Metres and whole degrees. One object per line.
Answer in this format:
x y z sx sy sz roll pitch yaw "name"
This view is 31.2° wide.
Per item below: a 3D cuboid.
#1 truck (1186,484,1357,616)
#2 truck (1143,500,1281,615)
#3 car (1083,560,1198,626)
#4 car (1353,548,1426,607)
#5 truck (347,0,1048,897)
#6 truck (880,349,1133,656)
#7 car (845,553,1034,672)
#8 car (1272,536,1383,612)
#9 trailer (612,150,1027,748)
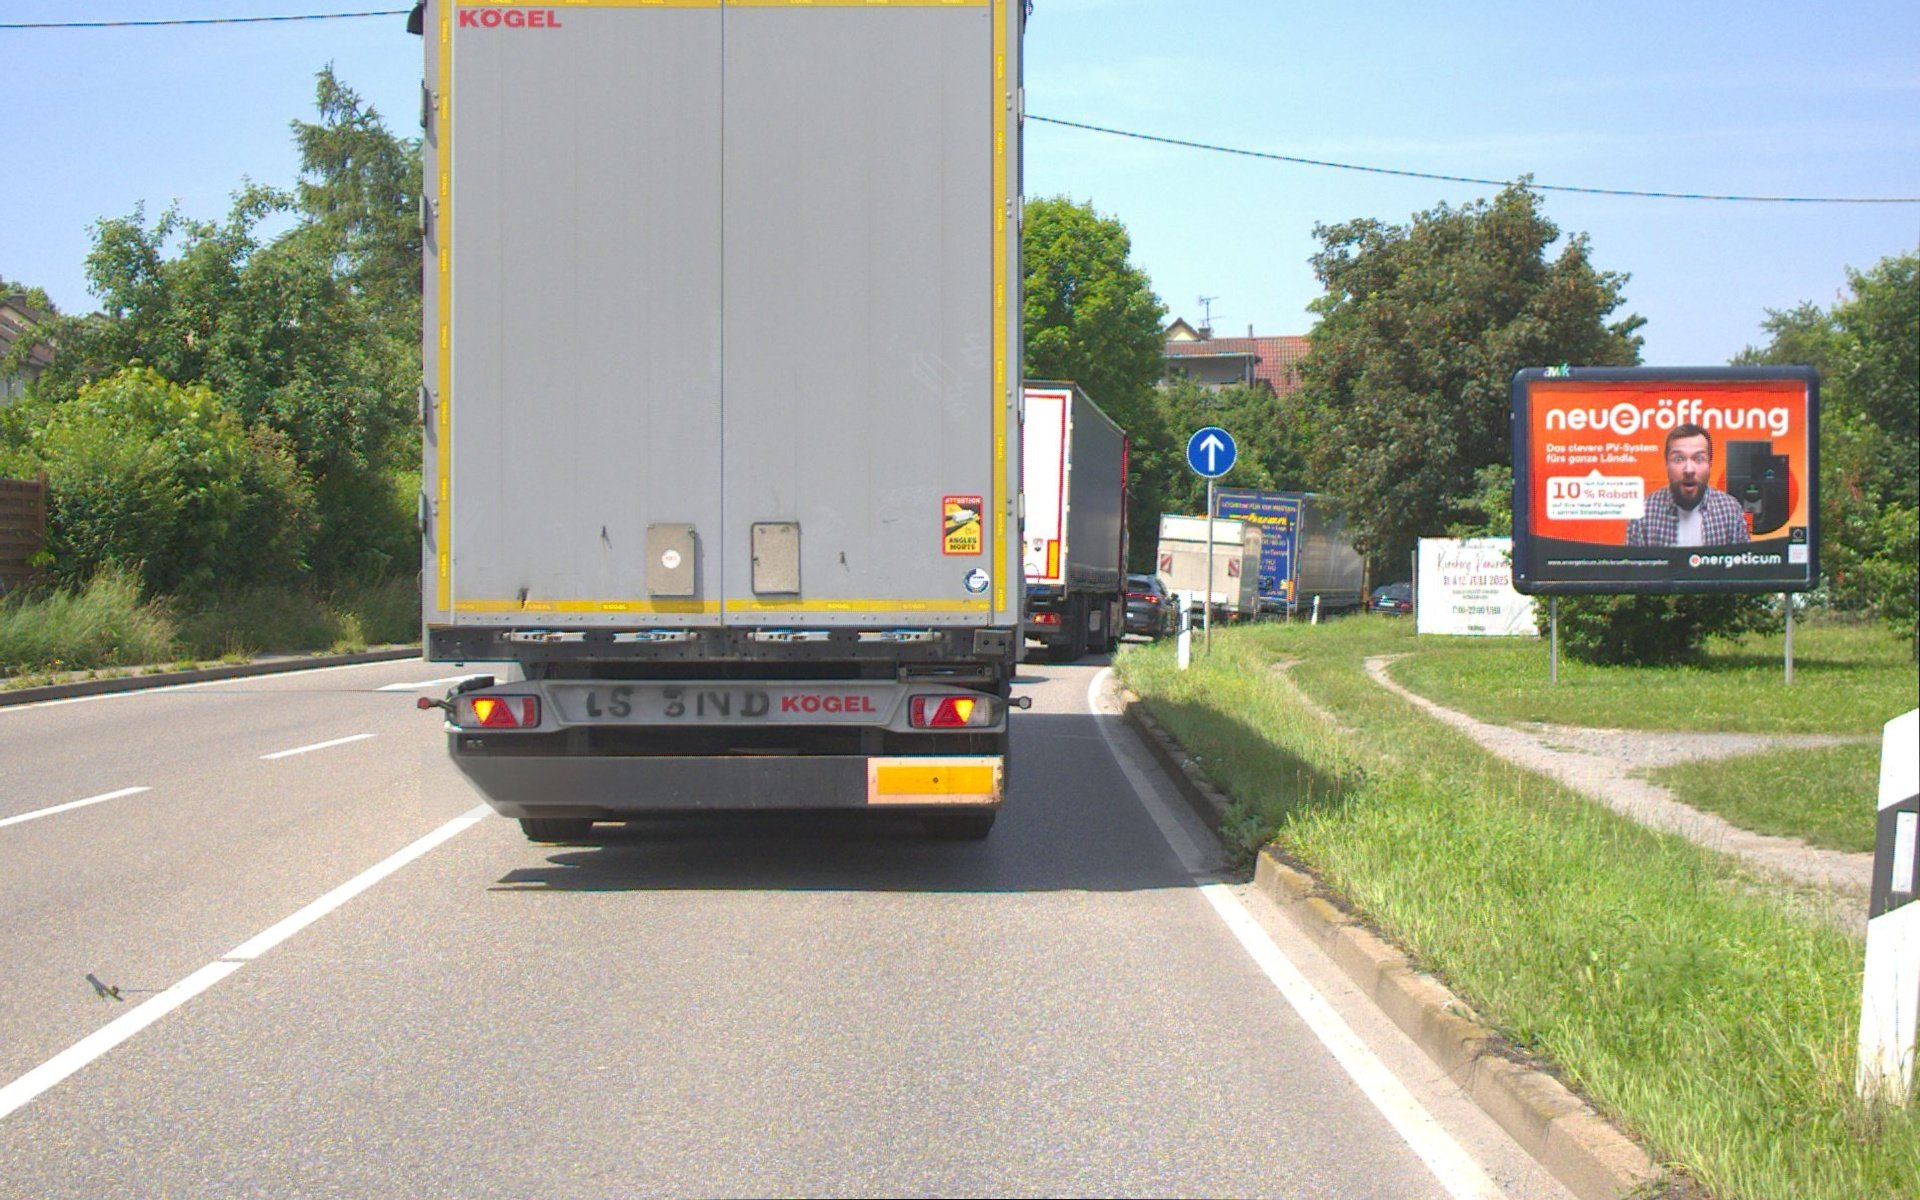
9.127 -1.472 99.632 3.435 3.592 9.348 1 1 14 "truck"
6.517 -1.048 88.100 2.545 2.793 6.028 1 0 13 "truck"
4.030 -0.152 76.286 1.994 1.371 3.998 1 0 11 "car"
15.219 -0.772 121.638 1.995 2.007 3.997 1 0 15 "car"
-1.022 -0.972 19.824 2.822 4.113 11.444 1 1 1 "truck"
1.061 -1.382 56.622 2.761 4.274 16.412 1 0 5 "truck"
-0.203 0.139 41.773 1.819 1.342 3.846 1 0 7 "car"
11.673 -0.850 108.837 2.533 2.269 6.377 1 1 15 "car"
-0.965 -1.101 26.993 2.825 4.097 6.544 1 1 0 "trailer"
